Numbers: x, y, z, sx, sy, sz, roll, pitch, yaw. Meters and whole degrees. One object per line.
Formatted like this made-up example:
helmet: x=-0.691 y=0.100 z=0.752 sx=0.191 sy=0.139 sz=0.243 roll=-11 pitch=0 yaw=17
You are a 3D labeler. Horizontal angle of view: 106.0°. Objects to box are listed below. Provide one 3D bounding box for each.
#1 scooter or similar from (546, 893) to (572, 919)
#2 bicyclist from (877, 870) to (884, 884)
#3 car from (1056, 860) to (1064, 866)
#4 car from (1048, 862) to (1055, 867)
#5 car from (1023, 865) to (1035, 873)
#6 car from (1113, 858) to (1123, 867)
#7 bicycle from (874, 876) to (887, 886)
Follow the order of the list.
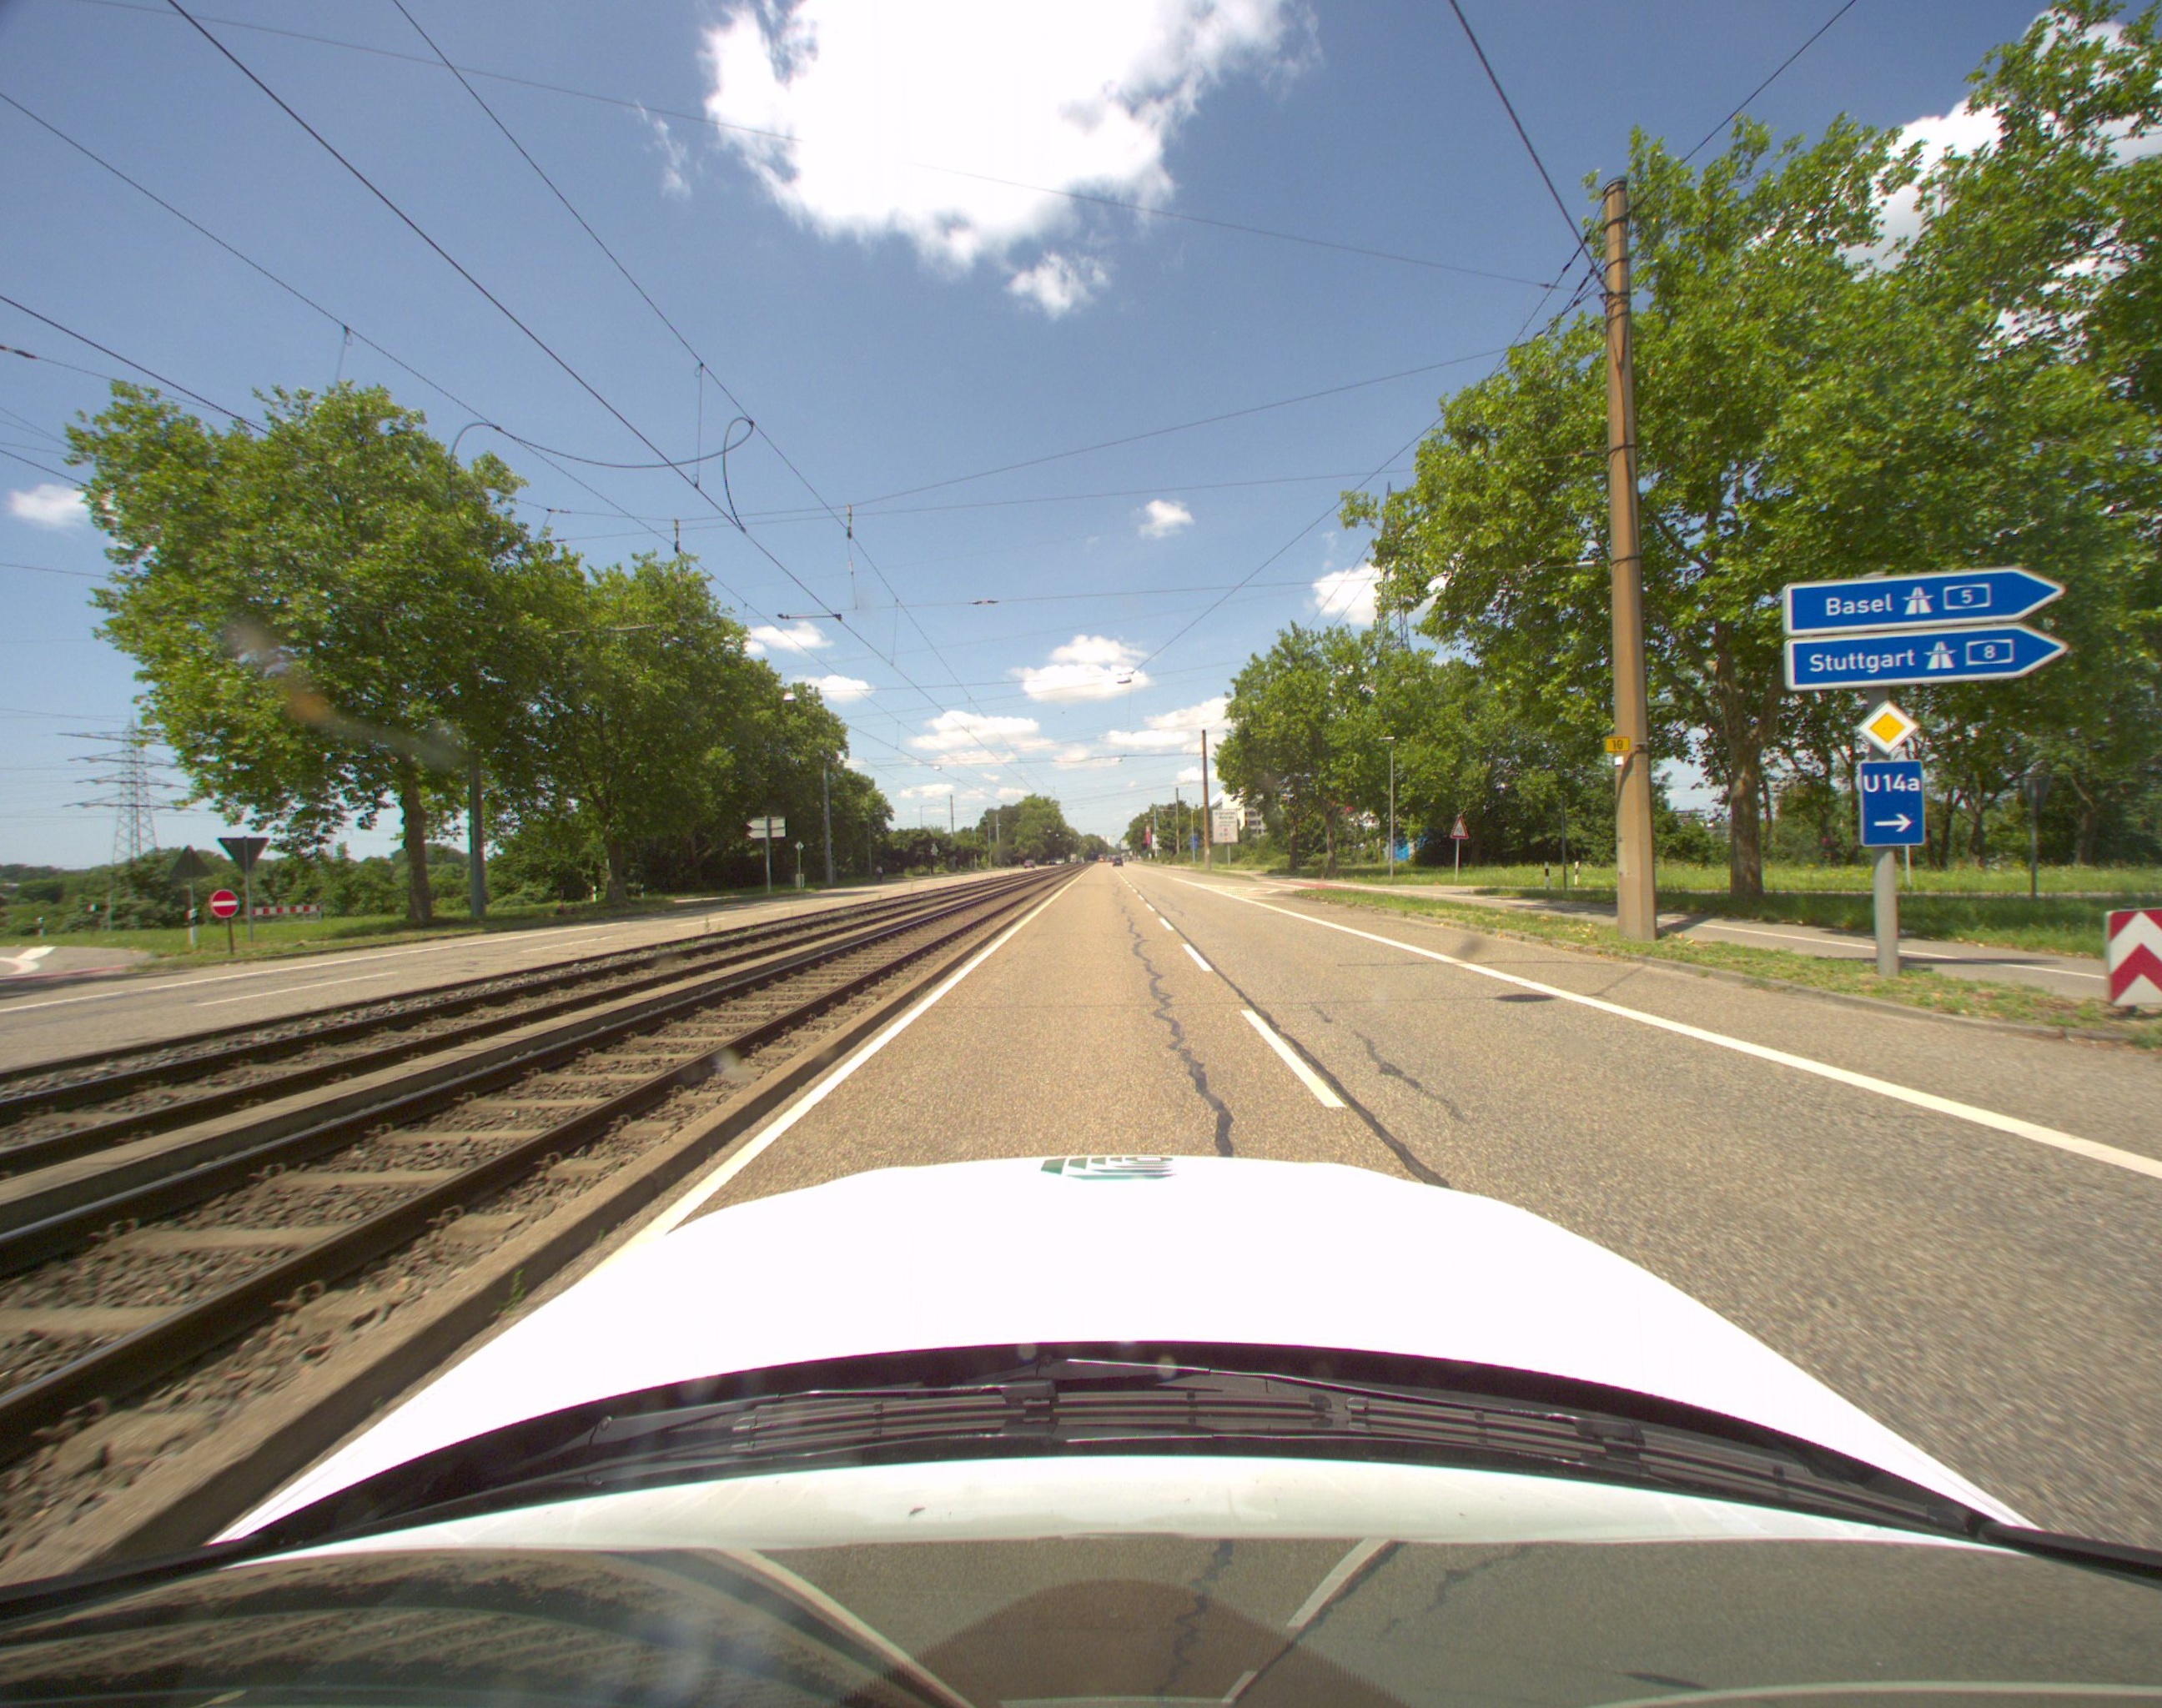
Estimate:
scooter or similar: x=-21.572 y=2.153 z=33.676 sx=0.297 sy=1.022 sz=0.999 roll=1 pitch=0 yaw=9
bicyclist: x=-18.010 y=2.041 z=73.019 sx=0.452 sy=1.272 sz=0.398 roll=-2 pitch=-1 yaw=4
car: x=-5.019 y=2.210 z=197.418 sx=1.709 sy=1.428 sz=3.902 roll=-2 pitch=0 yaw=2
car: x=-7.811 y=2.822 z=216.764 sx=1.595 sy=1.273 sz=3.838 roll=-2 pitch=0 yaw=2
car: x=-9.648 y=2.727 z=150.930 sx=1.868 sy=1.332 sz=3.919 roll=-3 pitch=0 yaw=2
car: x=6.279 y=1.404 z=139.324 sx=1.581 sy=1.343 sz=3.272 roll=-2 pitch=0 yaw=0
bicycle: x=-18.001 y=2.426 z=72.997 sx=0.513 sy=0.857 sz=1.933 roll=-2 pitch=0 yaw=4
